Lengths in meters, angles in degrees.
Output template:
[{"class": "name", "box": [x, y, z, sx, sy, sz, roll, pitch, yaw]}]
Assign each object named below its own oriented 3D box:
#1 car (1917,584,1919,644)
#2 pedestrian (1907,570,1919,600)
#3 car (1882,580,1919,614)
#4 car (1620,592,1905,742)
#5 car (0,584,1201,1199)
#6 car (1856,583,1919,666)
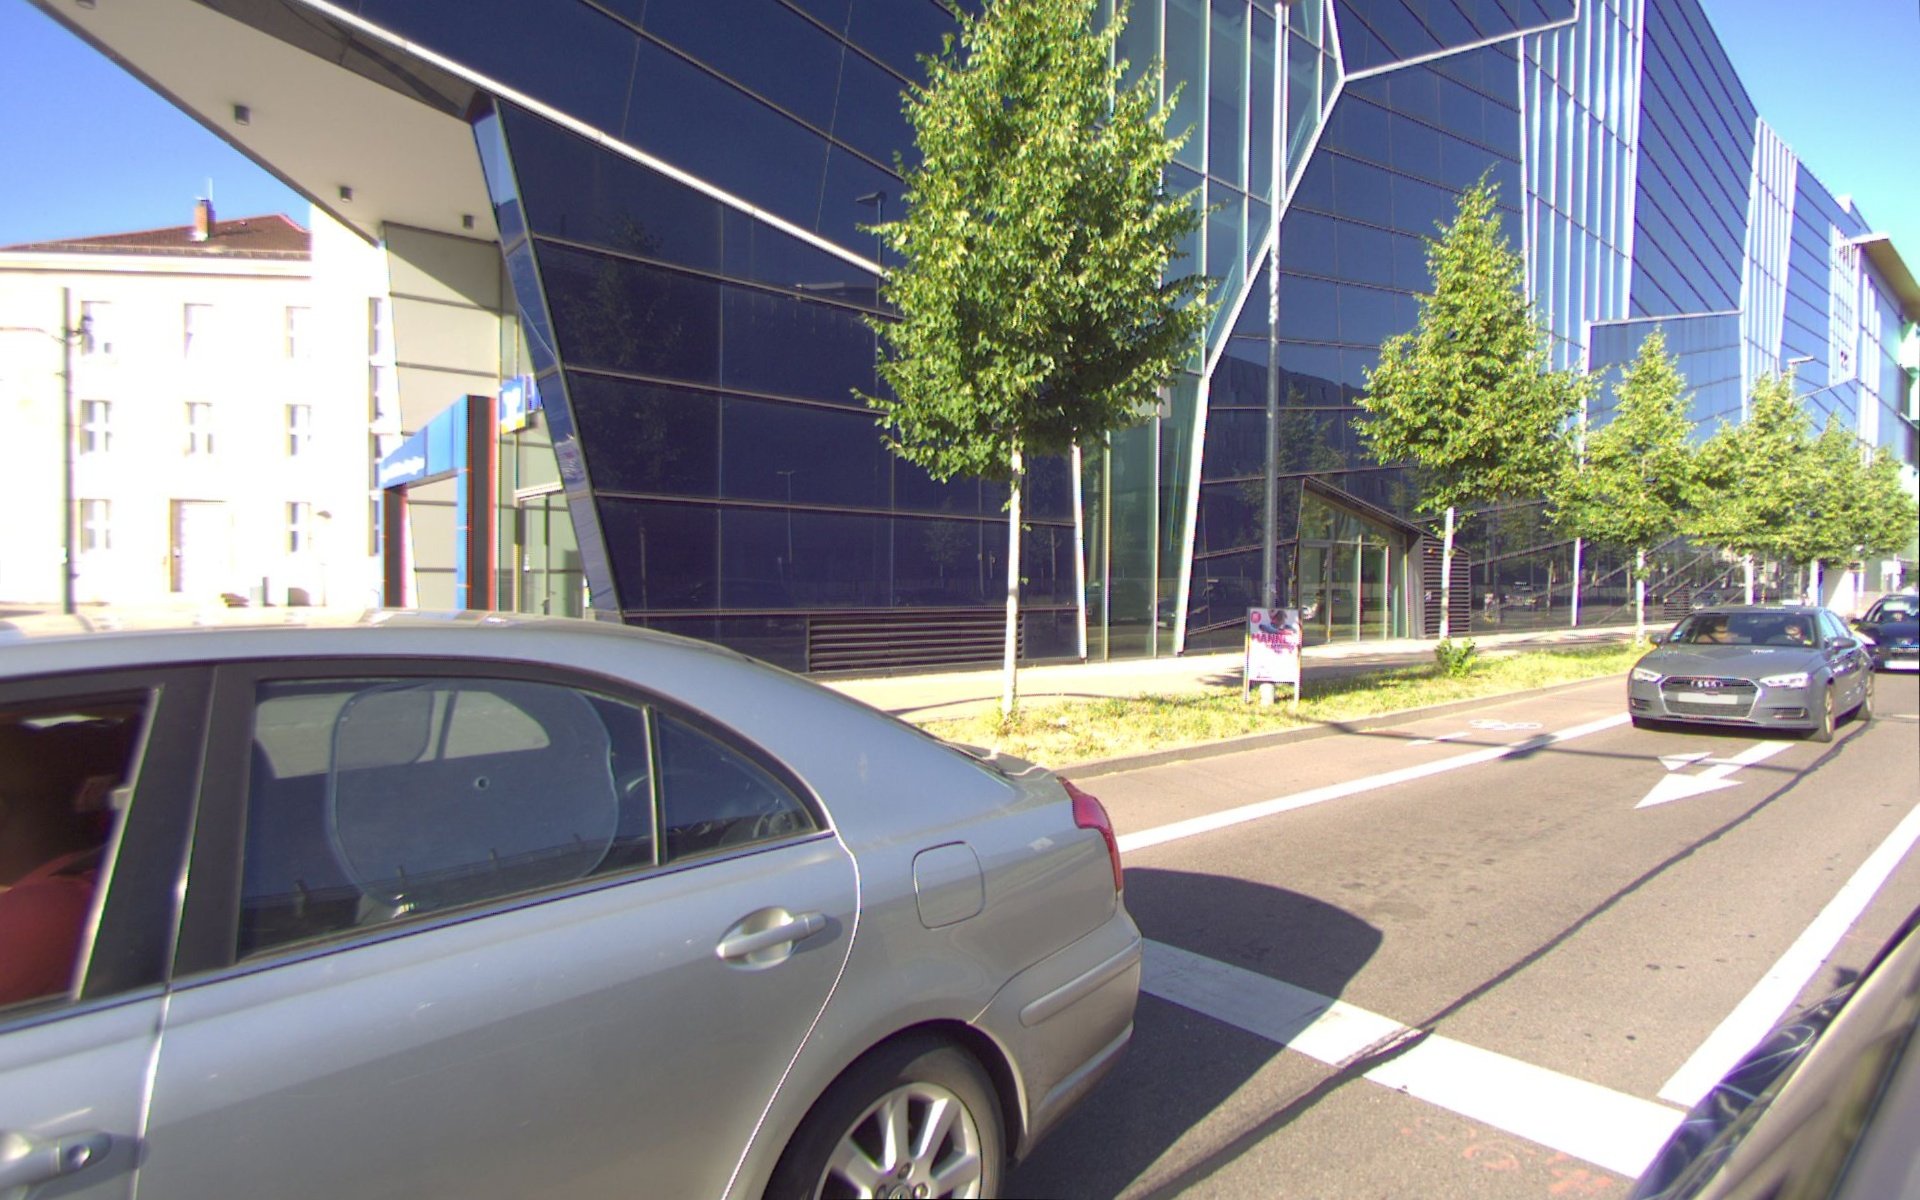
[{"class": "car", "box": [25.671, 0.344, 25.635, 3.358, 1.497, 1.752, -1, 1, -41]}, {"class": "pedestrian", "box": [60.264, -0.936, 63.643, 0.889, 1.846, 0.829, 0, 5, -41]}, {"class": "car", "box": [46.751, -0.160, 49.607, 4.633, 1.516, 1.739, -1, 4, -41]}, {"class": "car", "box": [9.514, 0.638, 11.880, 4.187, 1.409, 1.750, -1, 1, -39]}, {"class": "car", "box": [-1.653, 0.757, 1.698, 4.549, 1.500, 1.748, -1, 2, -42]}, {"class": "car", "box": [18.952, 0.428, 19.719, 3.902, 1.497, 1.752, -1, 1, -41]}]
